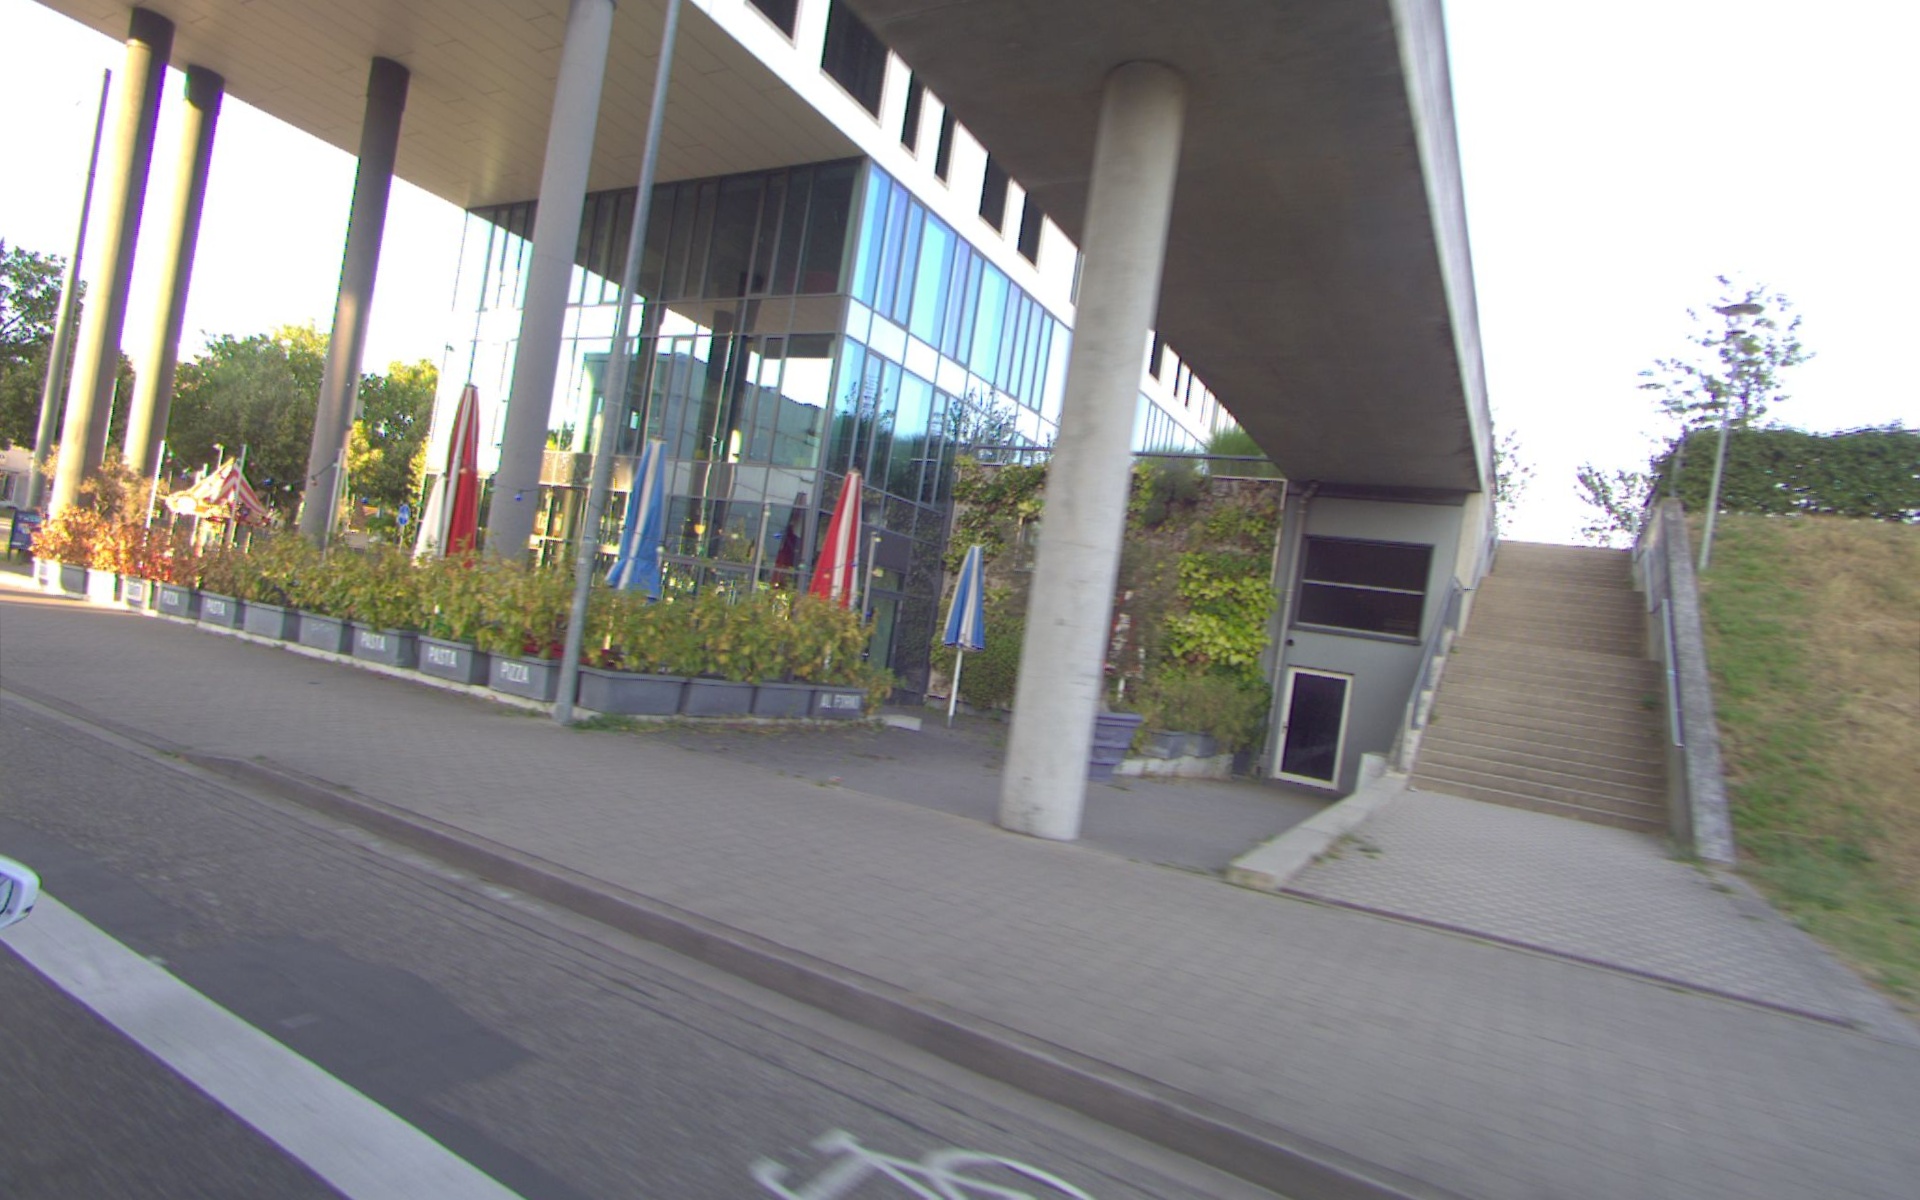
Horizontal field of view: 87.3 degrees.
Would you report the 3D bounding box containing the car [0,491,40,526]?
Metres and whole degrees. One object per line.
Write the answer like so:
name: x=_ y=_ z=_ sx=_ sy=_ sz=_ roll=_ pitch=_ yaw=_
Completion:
car: x=-61.276 y=-6.018 z=63.350 sx=1.913 sy=1.837 sz=4.476 roll=9 pitch=-2 yaw=33
